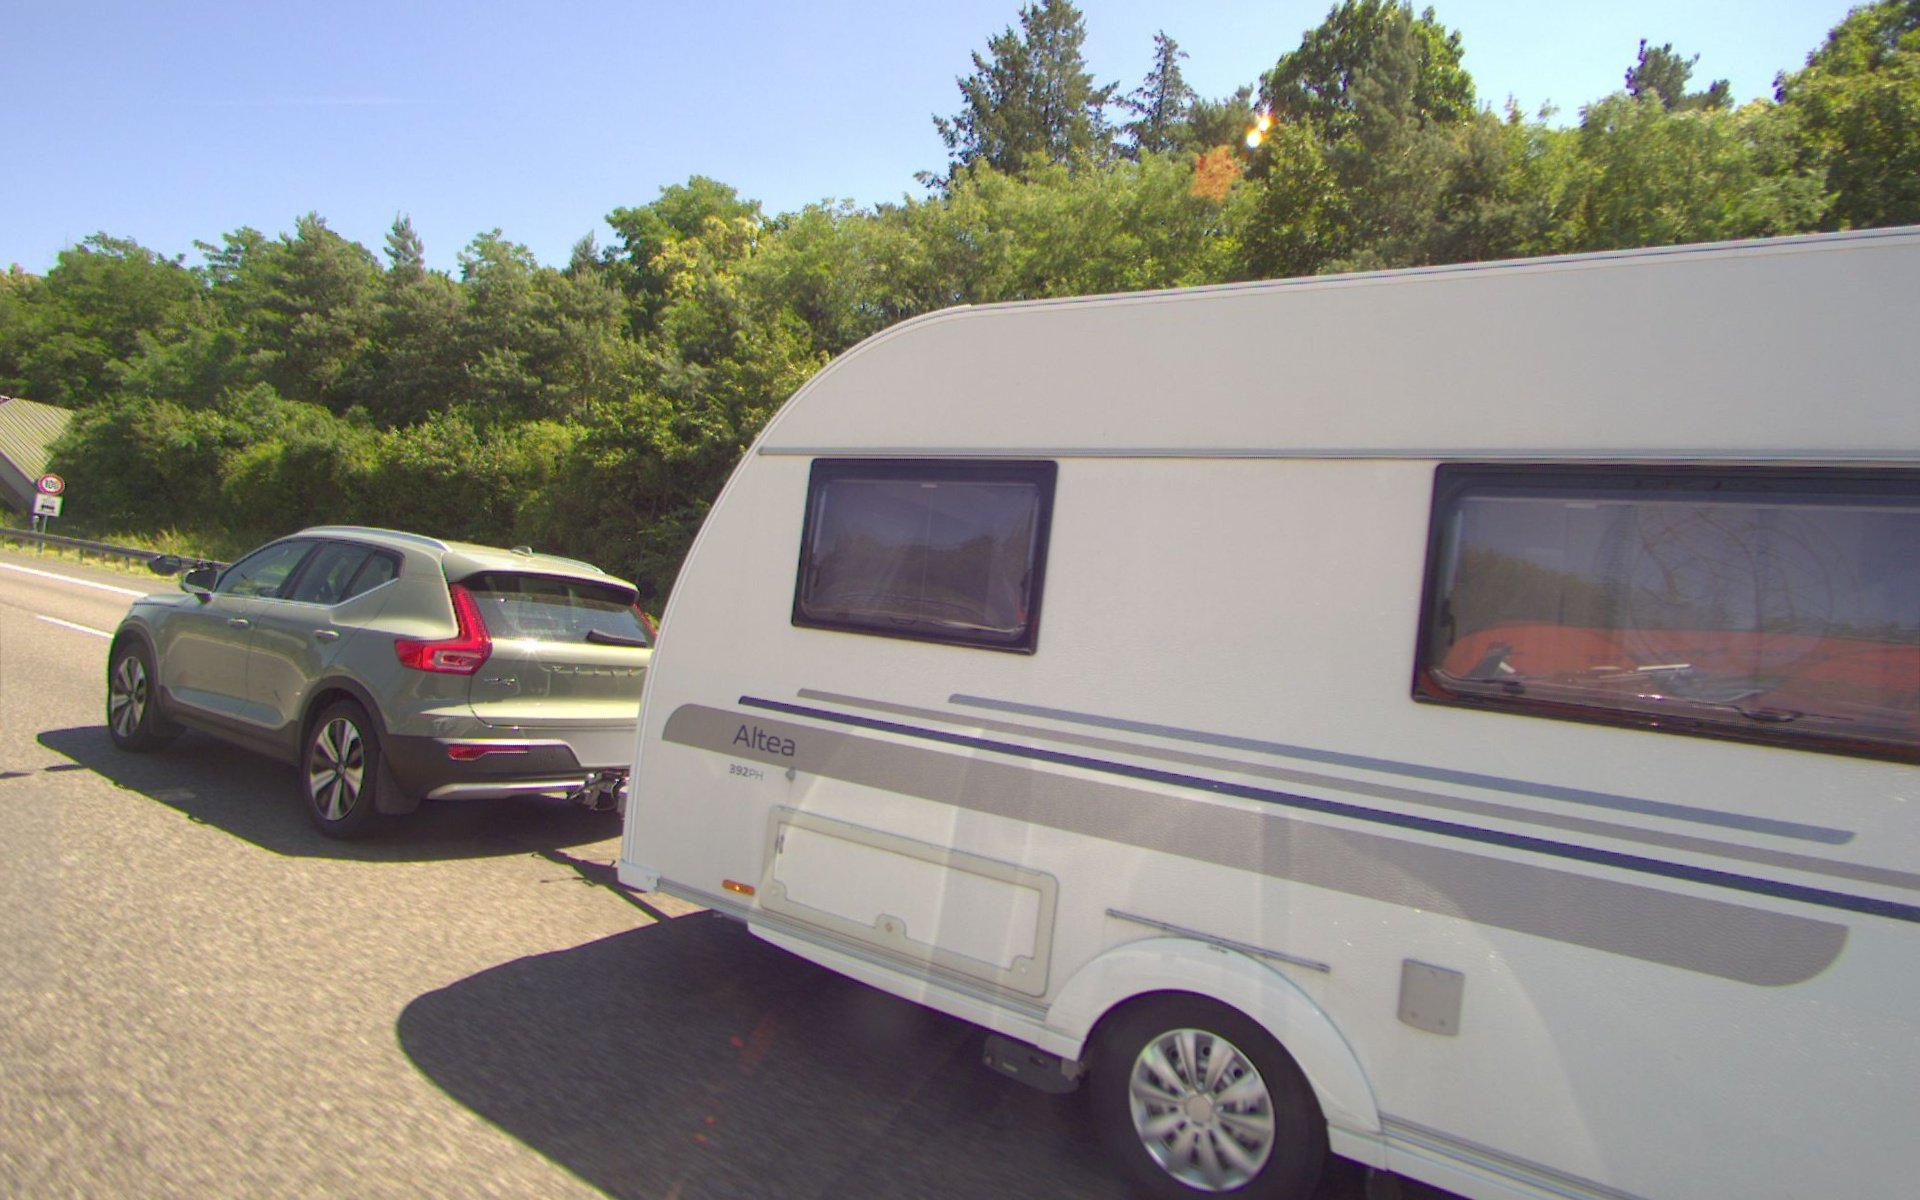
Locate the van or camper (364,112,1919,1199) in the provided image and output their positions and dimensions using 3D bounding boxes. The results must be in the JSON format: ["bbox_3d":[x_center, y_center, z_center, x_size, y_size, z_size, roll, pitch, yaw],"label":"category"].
[{"bbox_3d":[0.987,0.396,3.699,6.241,2.705,2.446,6,-2,30],"label":"van or camper"}]

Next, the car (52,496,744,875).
[{"bbox_3d":[-3.891,0.356,6.727,4.623,1.631,1.882,6,-1,31],"label":"car"}]
